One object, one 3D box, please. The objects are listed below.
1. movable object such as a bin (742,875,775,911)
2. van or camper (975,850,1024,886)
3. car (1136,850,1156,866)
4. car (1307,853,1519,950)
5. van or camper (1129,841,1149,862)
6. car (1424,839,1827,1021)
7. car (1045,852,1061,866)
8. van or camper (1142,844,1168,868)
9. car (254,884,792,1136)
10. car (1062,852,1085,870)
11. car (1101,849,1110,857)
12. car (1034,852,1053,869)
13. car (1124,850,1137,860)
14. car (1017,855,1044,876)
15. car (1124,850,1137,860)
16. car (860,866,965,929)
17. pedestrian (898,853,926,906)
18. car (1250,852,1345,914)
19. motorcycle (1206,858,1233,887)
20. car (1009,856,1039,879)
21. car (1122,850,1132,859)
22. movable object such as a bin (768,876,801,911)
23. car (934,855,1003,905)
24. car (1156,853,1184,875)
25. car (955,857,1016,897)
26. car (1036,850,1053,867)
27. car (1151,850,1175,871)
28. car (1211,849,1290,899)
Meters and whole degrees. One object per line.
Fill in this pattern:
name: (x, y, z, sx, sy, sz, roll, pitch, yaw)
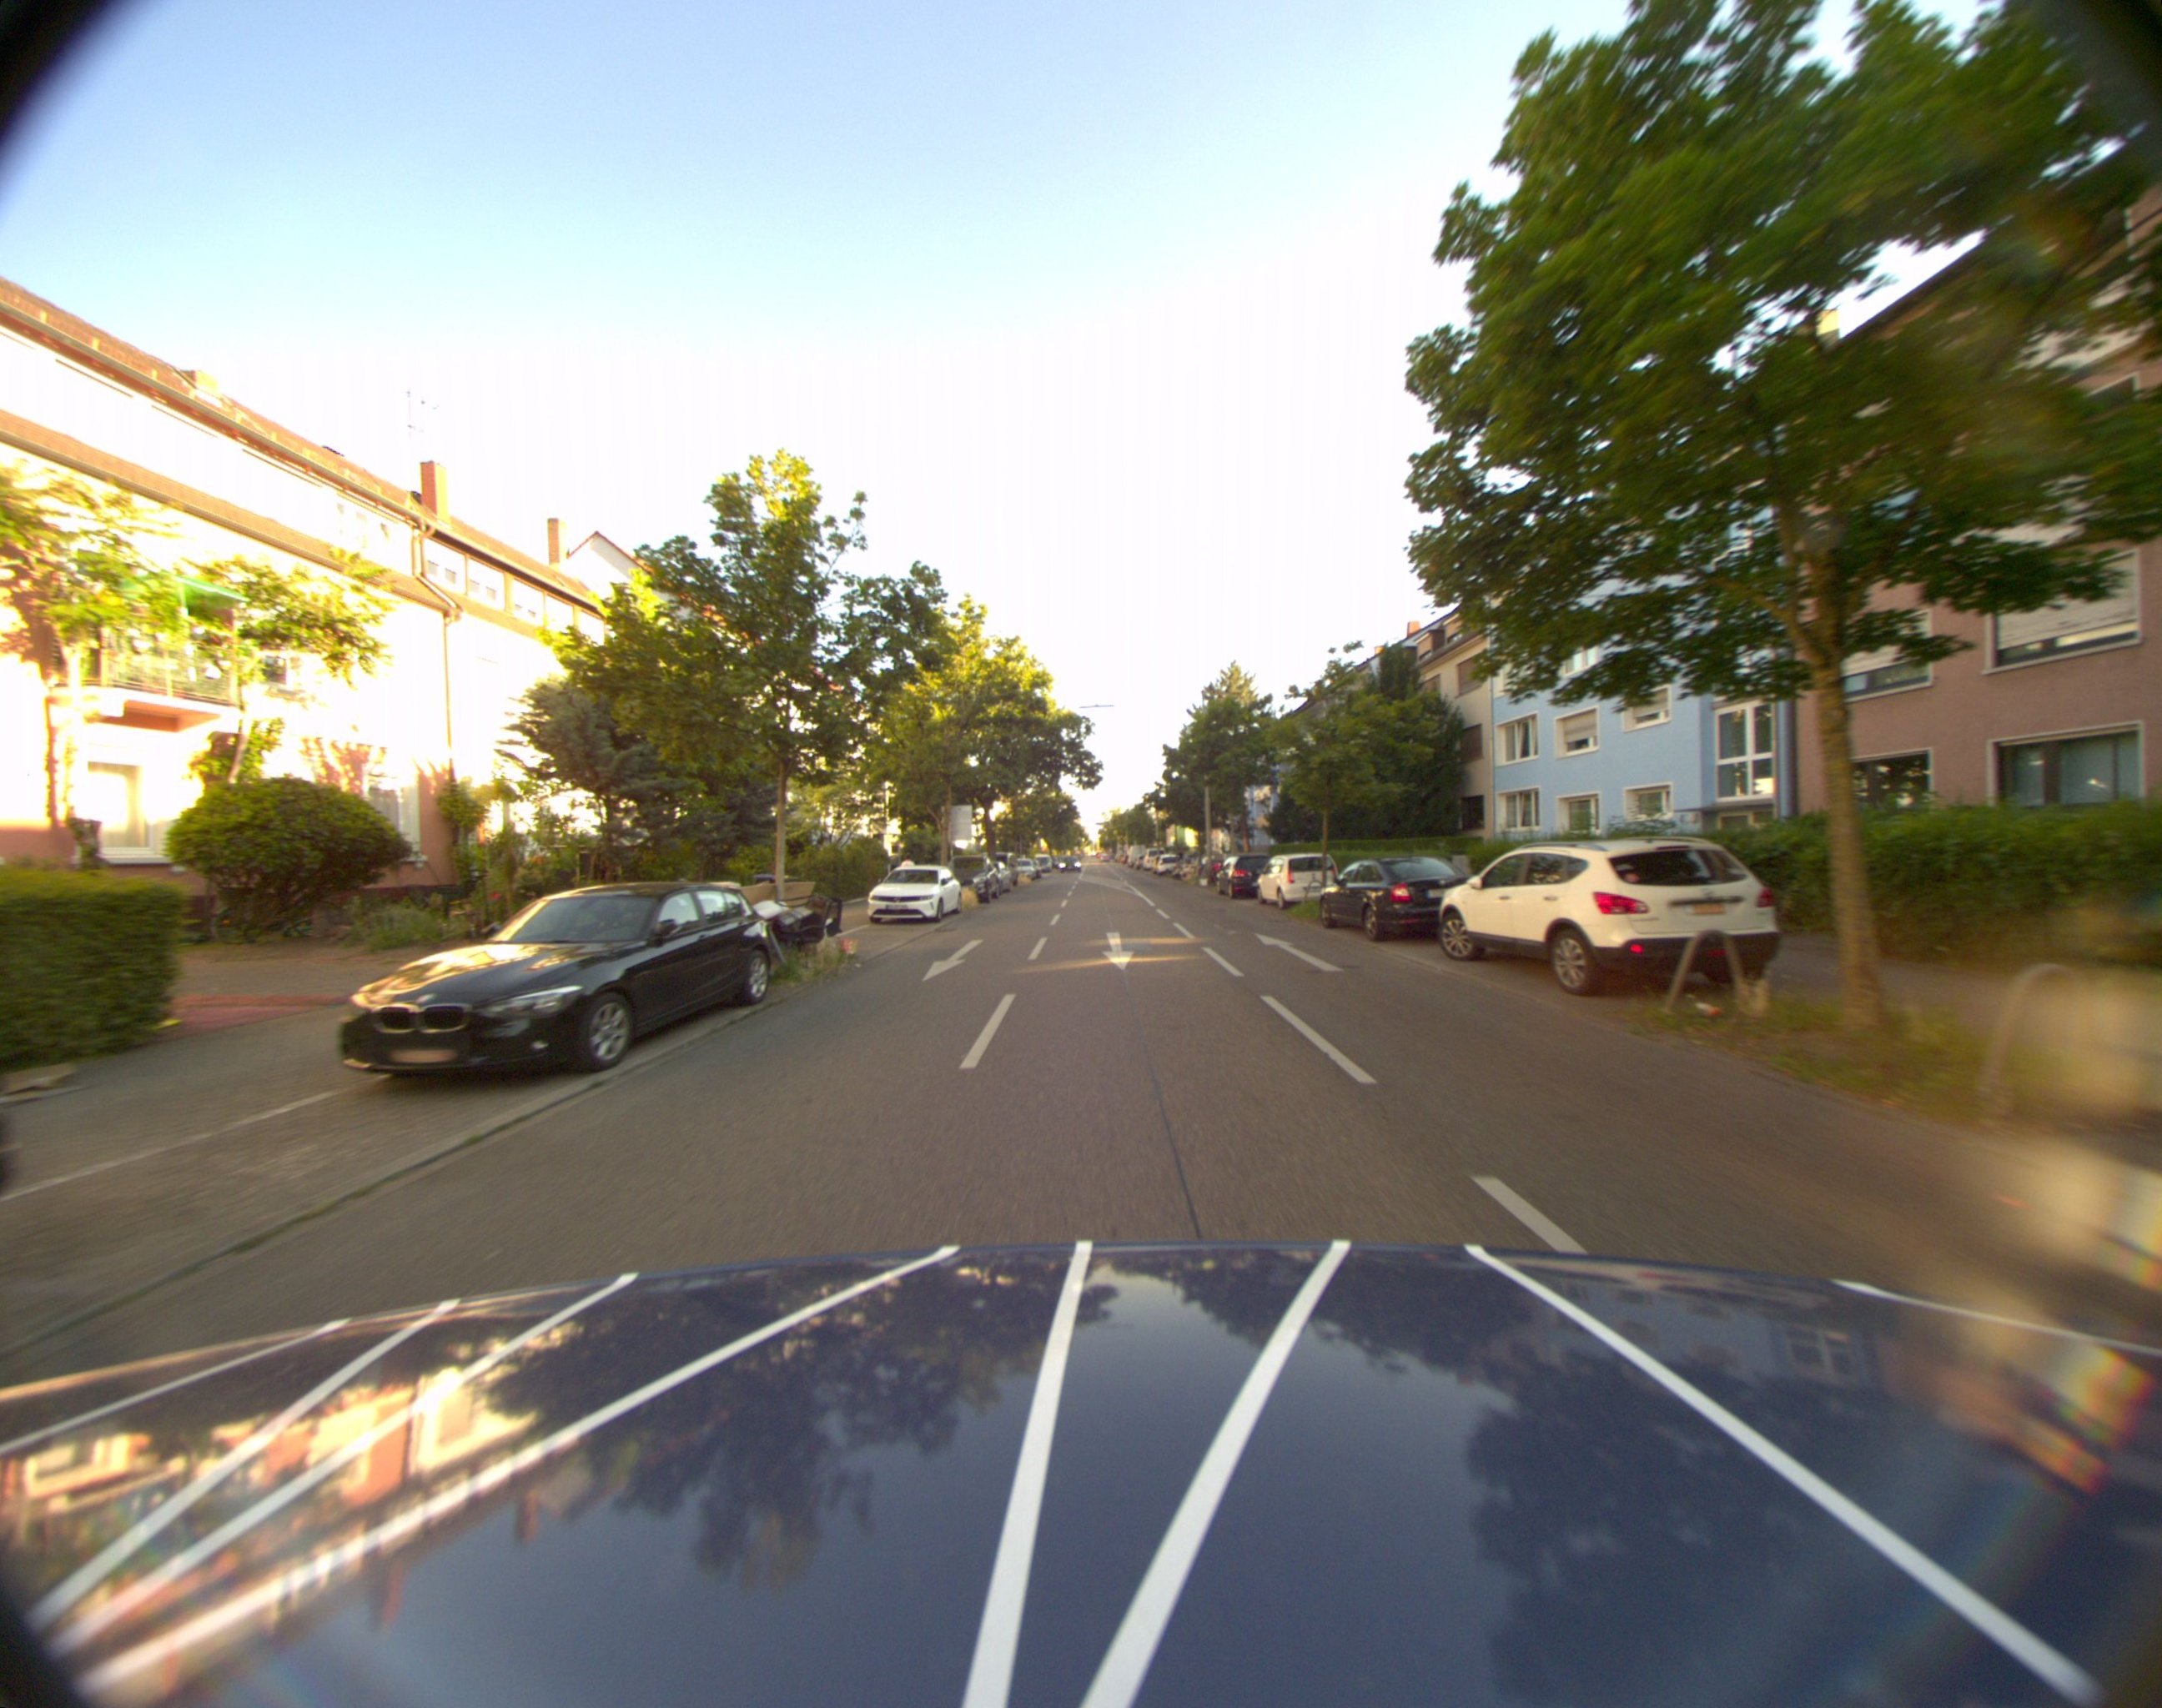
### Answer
movable object such as a bin: (-10.002, 1.198, 23.596, 0.727, 1.052, 0.684, 1, 1, 0)
van or camper: (-4.448, 0.780, 42.242, 1.998, 1.831, 5.260, -2, -1, 1)
car: (6.701, 0.374, 78.973, 1.808, 1.489, 3.957, -2, 0, 2)
car: (5.895, 0.743, 14.190, 1.998, 1.439, 4.458, -2, 1, 0)
van or camper: (7.056, -0.316, 92.862, 1.917, 2.528, 5.334, -2, 0, 1)
car: (5.890, 0.682, 8.999, 1.781, 1.579, 4.185, -3, 0, 1)
car: (-3.297, 0.584, 89.328, 1.798, 1.558, 3.671, -1, 0, -2)
van or camper: (6.830, 0.161, 70.260, 1.809, 2.002, 4.864, -3, 0, 0)
car: (-4.558, 1.129, 7.286, 1.774, 1.440, 4.484, -1, 0, 1)
car: (-0.676, 0.588, 70.158, 1.999, 1.525, 3.999, -2, 0, 0)
car: (5.044, -0.207, 158.291, 1.726, 1.473, 3.956, -1, 0, 0)
car: (-3.728, 0.635, 75.314, 1.798, 1.577, 3.999, -1, 0, -2)
car: (7.747, 0.182, 119.031, 1.762, 1.439, 3.786, -2, 0, 5)
car: (-3.741, 0.836, 56.943, 1.738, 1.435, 4.339, -1, 0, 0)
car: (7.497, 0.182, 115.079, 1.762, 1.439, 3.591, -2, 0, 5)
car: (-4.393, 1.082, 20.478, 1.766, 1.394, 4.333, -1, 0, 1)
pedestrian: (-6.052, 0.907, 27.256, 0.669, 1.773, 0.764, -5, 3, 1)
car: (6.013, 0.735, 21.458, 1.595, 1.483, 3.641, -3, 1, 0)
motorcycle: (6.008, 0.786, 33.068, 0.640, 1.130, 2.172, -4, 0, -2)
car: (-3.850, 0.888, 51.642, 1.738, 1.435, 4.304, -1, 0, 0)
car: (8.266, 0.067, 137.013, 1.808, 1.587, 3.957, -2, 0, 2)
movable object such as a bin: (-9.203, 1.221, 23.605, 0.727, 1.052, 0.684, 1, 1, 0)
car: (-4.107, 0.888, 28.456, 1.921, 1.672, 4.707, 0, 0, 0)
car: (6.378, 0.667, 54.772, 1.684, 1.434, 3.881, -3, 0, 3)
car: (-4.094, 0.947, 33.399, 1.788, 1.495, 4.831, -2, 0, 3)
car: (-3.852, 0.486, 80.704, 1.798, 1.761, 3.999, -1, 0, -2)
car: (6.436, 0.493, 60.012, 1.577, 1.460, 3.491, -3, 0, 3)
car: (5.818, 0.625, 26.594, 1.842, 1.508, 4.316, -3, 0, 2)
